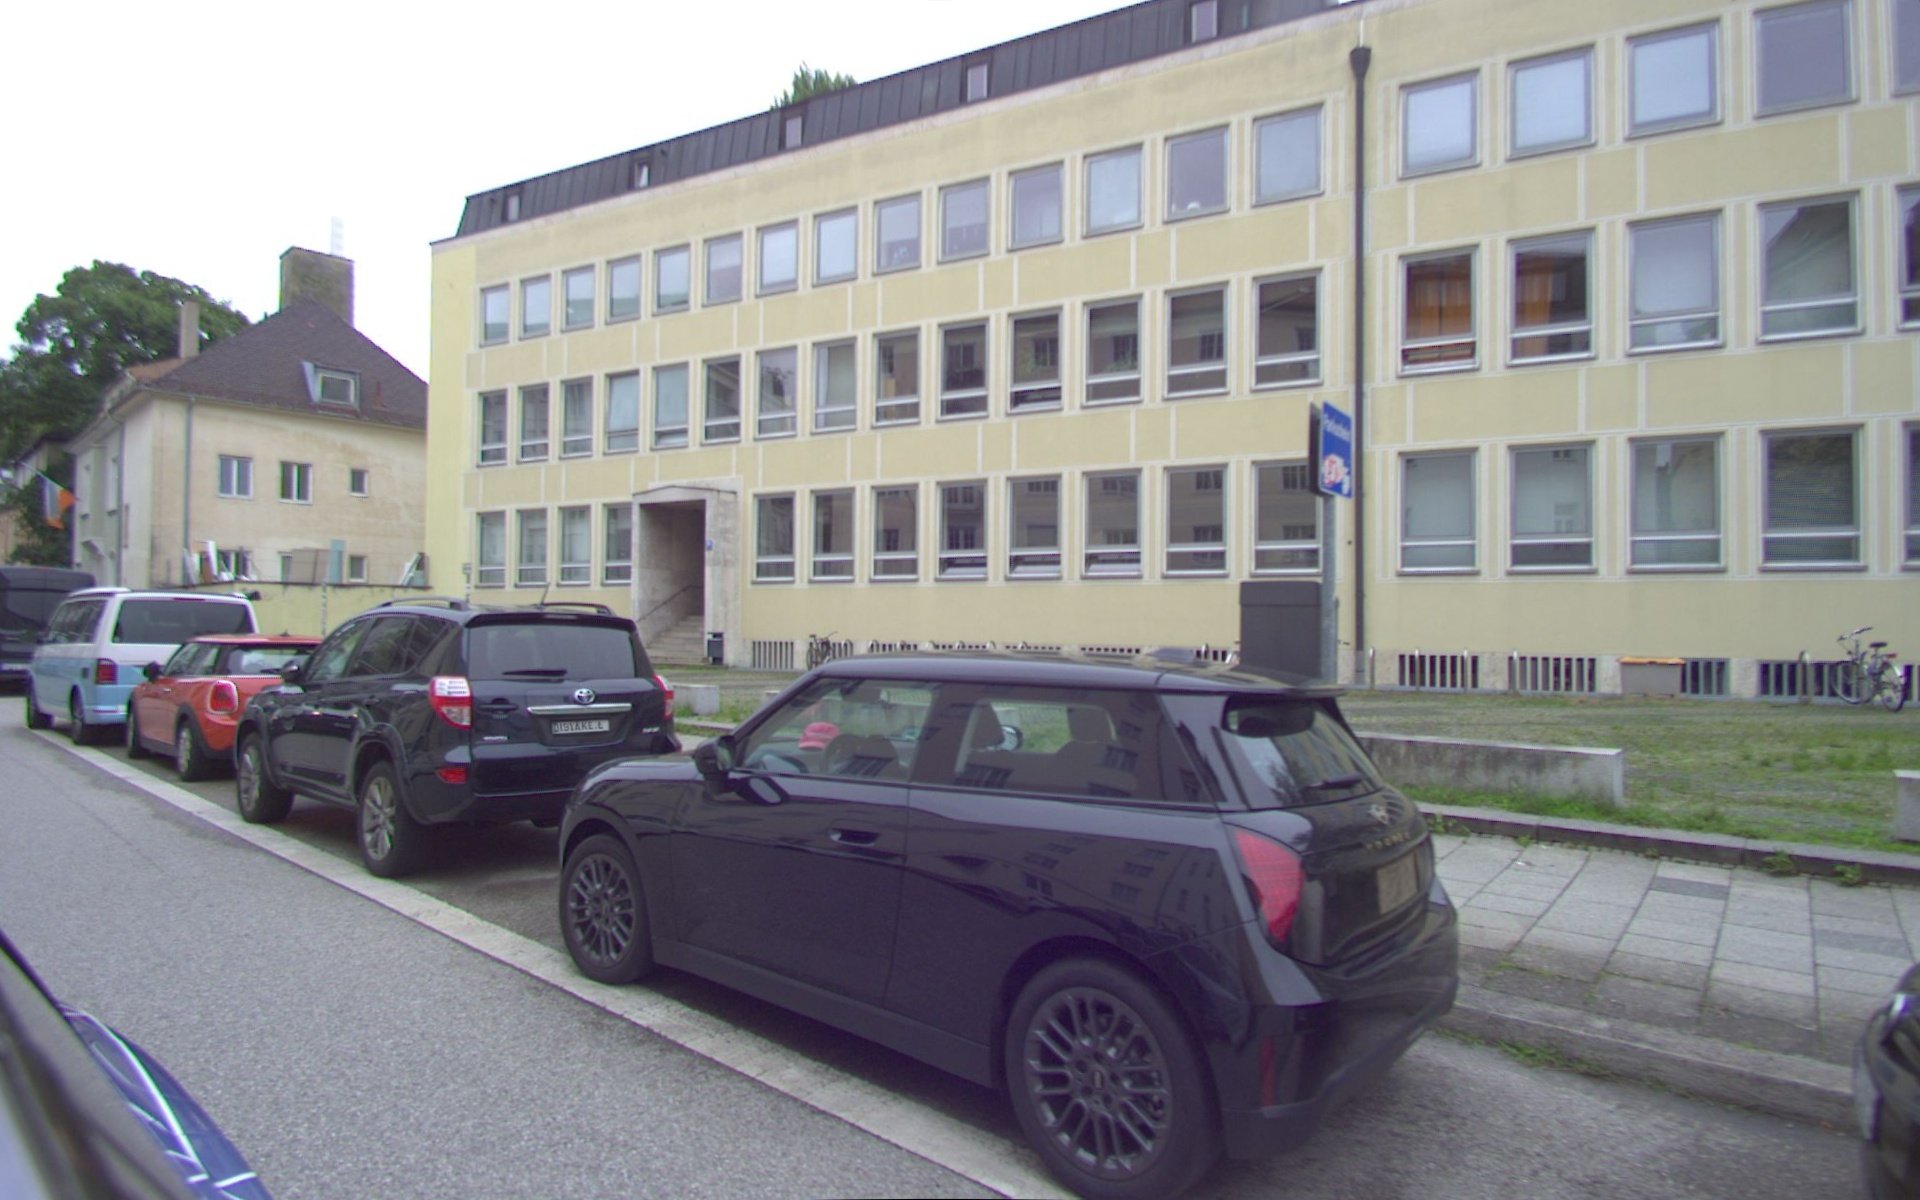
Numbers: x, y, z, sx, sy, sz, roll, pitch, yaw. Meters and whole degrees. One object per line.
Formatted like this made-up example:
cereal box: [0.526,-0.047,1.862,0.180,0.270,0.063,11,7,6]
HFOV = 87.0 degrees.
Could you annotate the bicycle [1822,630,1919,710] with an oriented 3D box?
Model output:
bicycle: [13.516,0.991,14.905,0.640,1.036,2.179,-1,0,24]

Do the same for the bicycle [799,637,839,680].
bicycle: [-3.260,1.343,23.519,0.287,0.909,1.233,-1,0,26]

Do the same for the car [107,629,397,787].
car: [-7.814,1.061,11.086,3.453,1.415,1.722,-1,-3,40]

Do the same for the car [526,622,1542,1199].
car: [0.032,0.854,3.986,3.683,1.478,1.723,-1,0,40]

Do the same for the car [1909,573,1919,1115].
car: [3.845,0.689,1.005,4.078,1.557,1.723,-1,0,39]

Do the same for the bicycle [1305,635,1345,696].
bicycle: [6.661,1.169,18.437,0.388,0.997,1.721,-1,0,30]

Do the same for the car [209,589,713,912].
car: [-3.780,0.853,7.356,4.119,1.702,1.722,-1,-3,40]

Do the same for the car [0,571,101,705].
car: [-21.079,0.794,22.769,4.957,2.738,1.973,-1,0,41]

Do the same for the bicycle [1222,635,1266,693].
bicycle: [5.453,1.197,19.370,0.388,0.997,1.721,-1,0,30]

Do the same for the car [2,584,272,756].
car: [-11.333,0.871,13.848,4.350,1.991,1.925,-1,-3,39]

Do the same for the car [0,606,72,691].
car: [-25.516,1.241,26.942,4.957,2.098,2.186,-1,0,41]

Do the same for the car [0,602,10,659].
car: [-37.827,1.174,38.352,4.957,2.098,2.186,-1,0,41]
